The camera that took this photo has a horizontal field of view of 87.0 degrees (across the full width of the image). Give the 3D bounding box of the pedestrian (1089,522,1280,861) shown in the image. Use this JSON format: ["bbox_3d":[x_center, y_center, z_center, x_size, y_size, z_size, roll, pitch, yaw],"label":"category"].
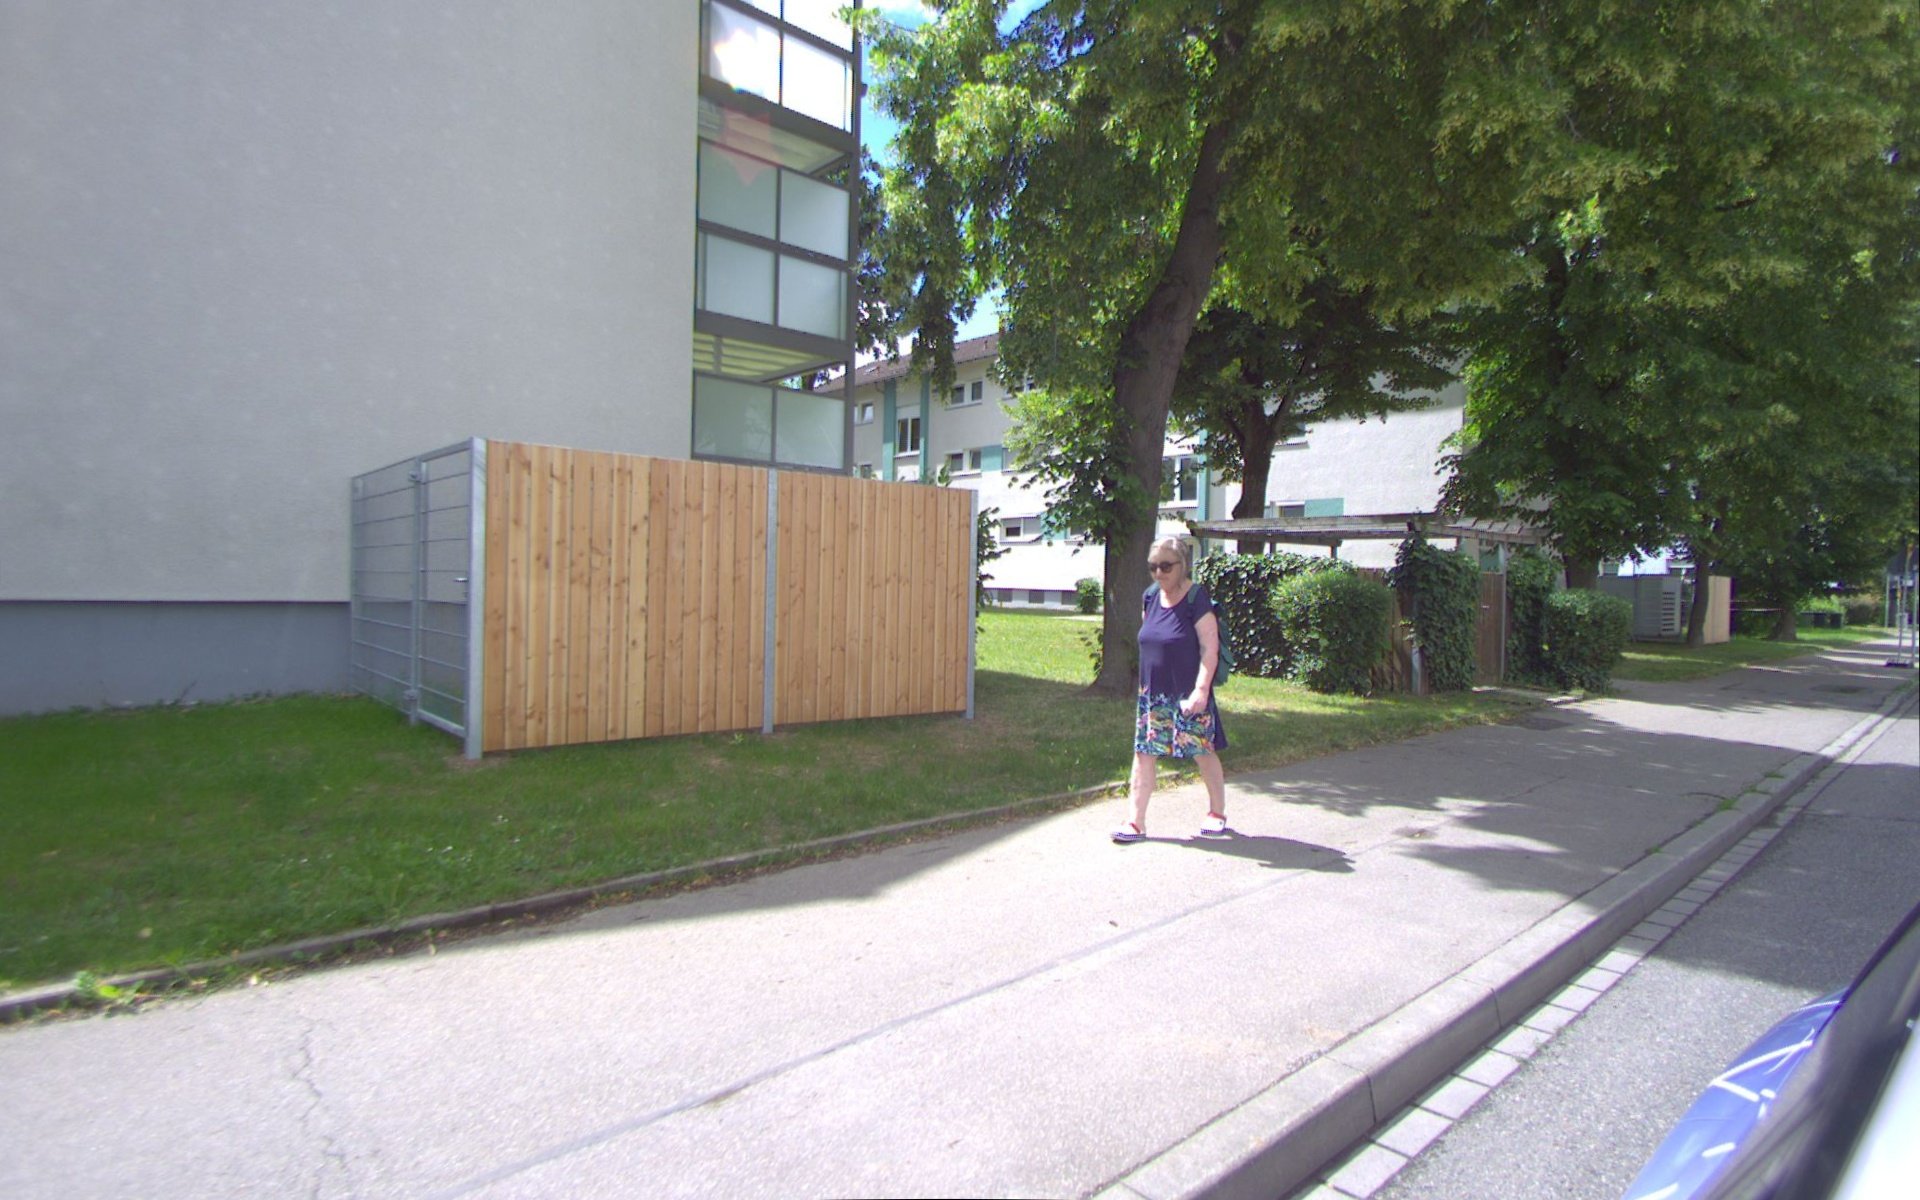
[{"bbox_3d":[1.244,0.453,5.570,0.682,1.681,0.819,1,-1,42],"label":"pedestrian"}]
